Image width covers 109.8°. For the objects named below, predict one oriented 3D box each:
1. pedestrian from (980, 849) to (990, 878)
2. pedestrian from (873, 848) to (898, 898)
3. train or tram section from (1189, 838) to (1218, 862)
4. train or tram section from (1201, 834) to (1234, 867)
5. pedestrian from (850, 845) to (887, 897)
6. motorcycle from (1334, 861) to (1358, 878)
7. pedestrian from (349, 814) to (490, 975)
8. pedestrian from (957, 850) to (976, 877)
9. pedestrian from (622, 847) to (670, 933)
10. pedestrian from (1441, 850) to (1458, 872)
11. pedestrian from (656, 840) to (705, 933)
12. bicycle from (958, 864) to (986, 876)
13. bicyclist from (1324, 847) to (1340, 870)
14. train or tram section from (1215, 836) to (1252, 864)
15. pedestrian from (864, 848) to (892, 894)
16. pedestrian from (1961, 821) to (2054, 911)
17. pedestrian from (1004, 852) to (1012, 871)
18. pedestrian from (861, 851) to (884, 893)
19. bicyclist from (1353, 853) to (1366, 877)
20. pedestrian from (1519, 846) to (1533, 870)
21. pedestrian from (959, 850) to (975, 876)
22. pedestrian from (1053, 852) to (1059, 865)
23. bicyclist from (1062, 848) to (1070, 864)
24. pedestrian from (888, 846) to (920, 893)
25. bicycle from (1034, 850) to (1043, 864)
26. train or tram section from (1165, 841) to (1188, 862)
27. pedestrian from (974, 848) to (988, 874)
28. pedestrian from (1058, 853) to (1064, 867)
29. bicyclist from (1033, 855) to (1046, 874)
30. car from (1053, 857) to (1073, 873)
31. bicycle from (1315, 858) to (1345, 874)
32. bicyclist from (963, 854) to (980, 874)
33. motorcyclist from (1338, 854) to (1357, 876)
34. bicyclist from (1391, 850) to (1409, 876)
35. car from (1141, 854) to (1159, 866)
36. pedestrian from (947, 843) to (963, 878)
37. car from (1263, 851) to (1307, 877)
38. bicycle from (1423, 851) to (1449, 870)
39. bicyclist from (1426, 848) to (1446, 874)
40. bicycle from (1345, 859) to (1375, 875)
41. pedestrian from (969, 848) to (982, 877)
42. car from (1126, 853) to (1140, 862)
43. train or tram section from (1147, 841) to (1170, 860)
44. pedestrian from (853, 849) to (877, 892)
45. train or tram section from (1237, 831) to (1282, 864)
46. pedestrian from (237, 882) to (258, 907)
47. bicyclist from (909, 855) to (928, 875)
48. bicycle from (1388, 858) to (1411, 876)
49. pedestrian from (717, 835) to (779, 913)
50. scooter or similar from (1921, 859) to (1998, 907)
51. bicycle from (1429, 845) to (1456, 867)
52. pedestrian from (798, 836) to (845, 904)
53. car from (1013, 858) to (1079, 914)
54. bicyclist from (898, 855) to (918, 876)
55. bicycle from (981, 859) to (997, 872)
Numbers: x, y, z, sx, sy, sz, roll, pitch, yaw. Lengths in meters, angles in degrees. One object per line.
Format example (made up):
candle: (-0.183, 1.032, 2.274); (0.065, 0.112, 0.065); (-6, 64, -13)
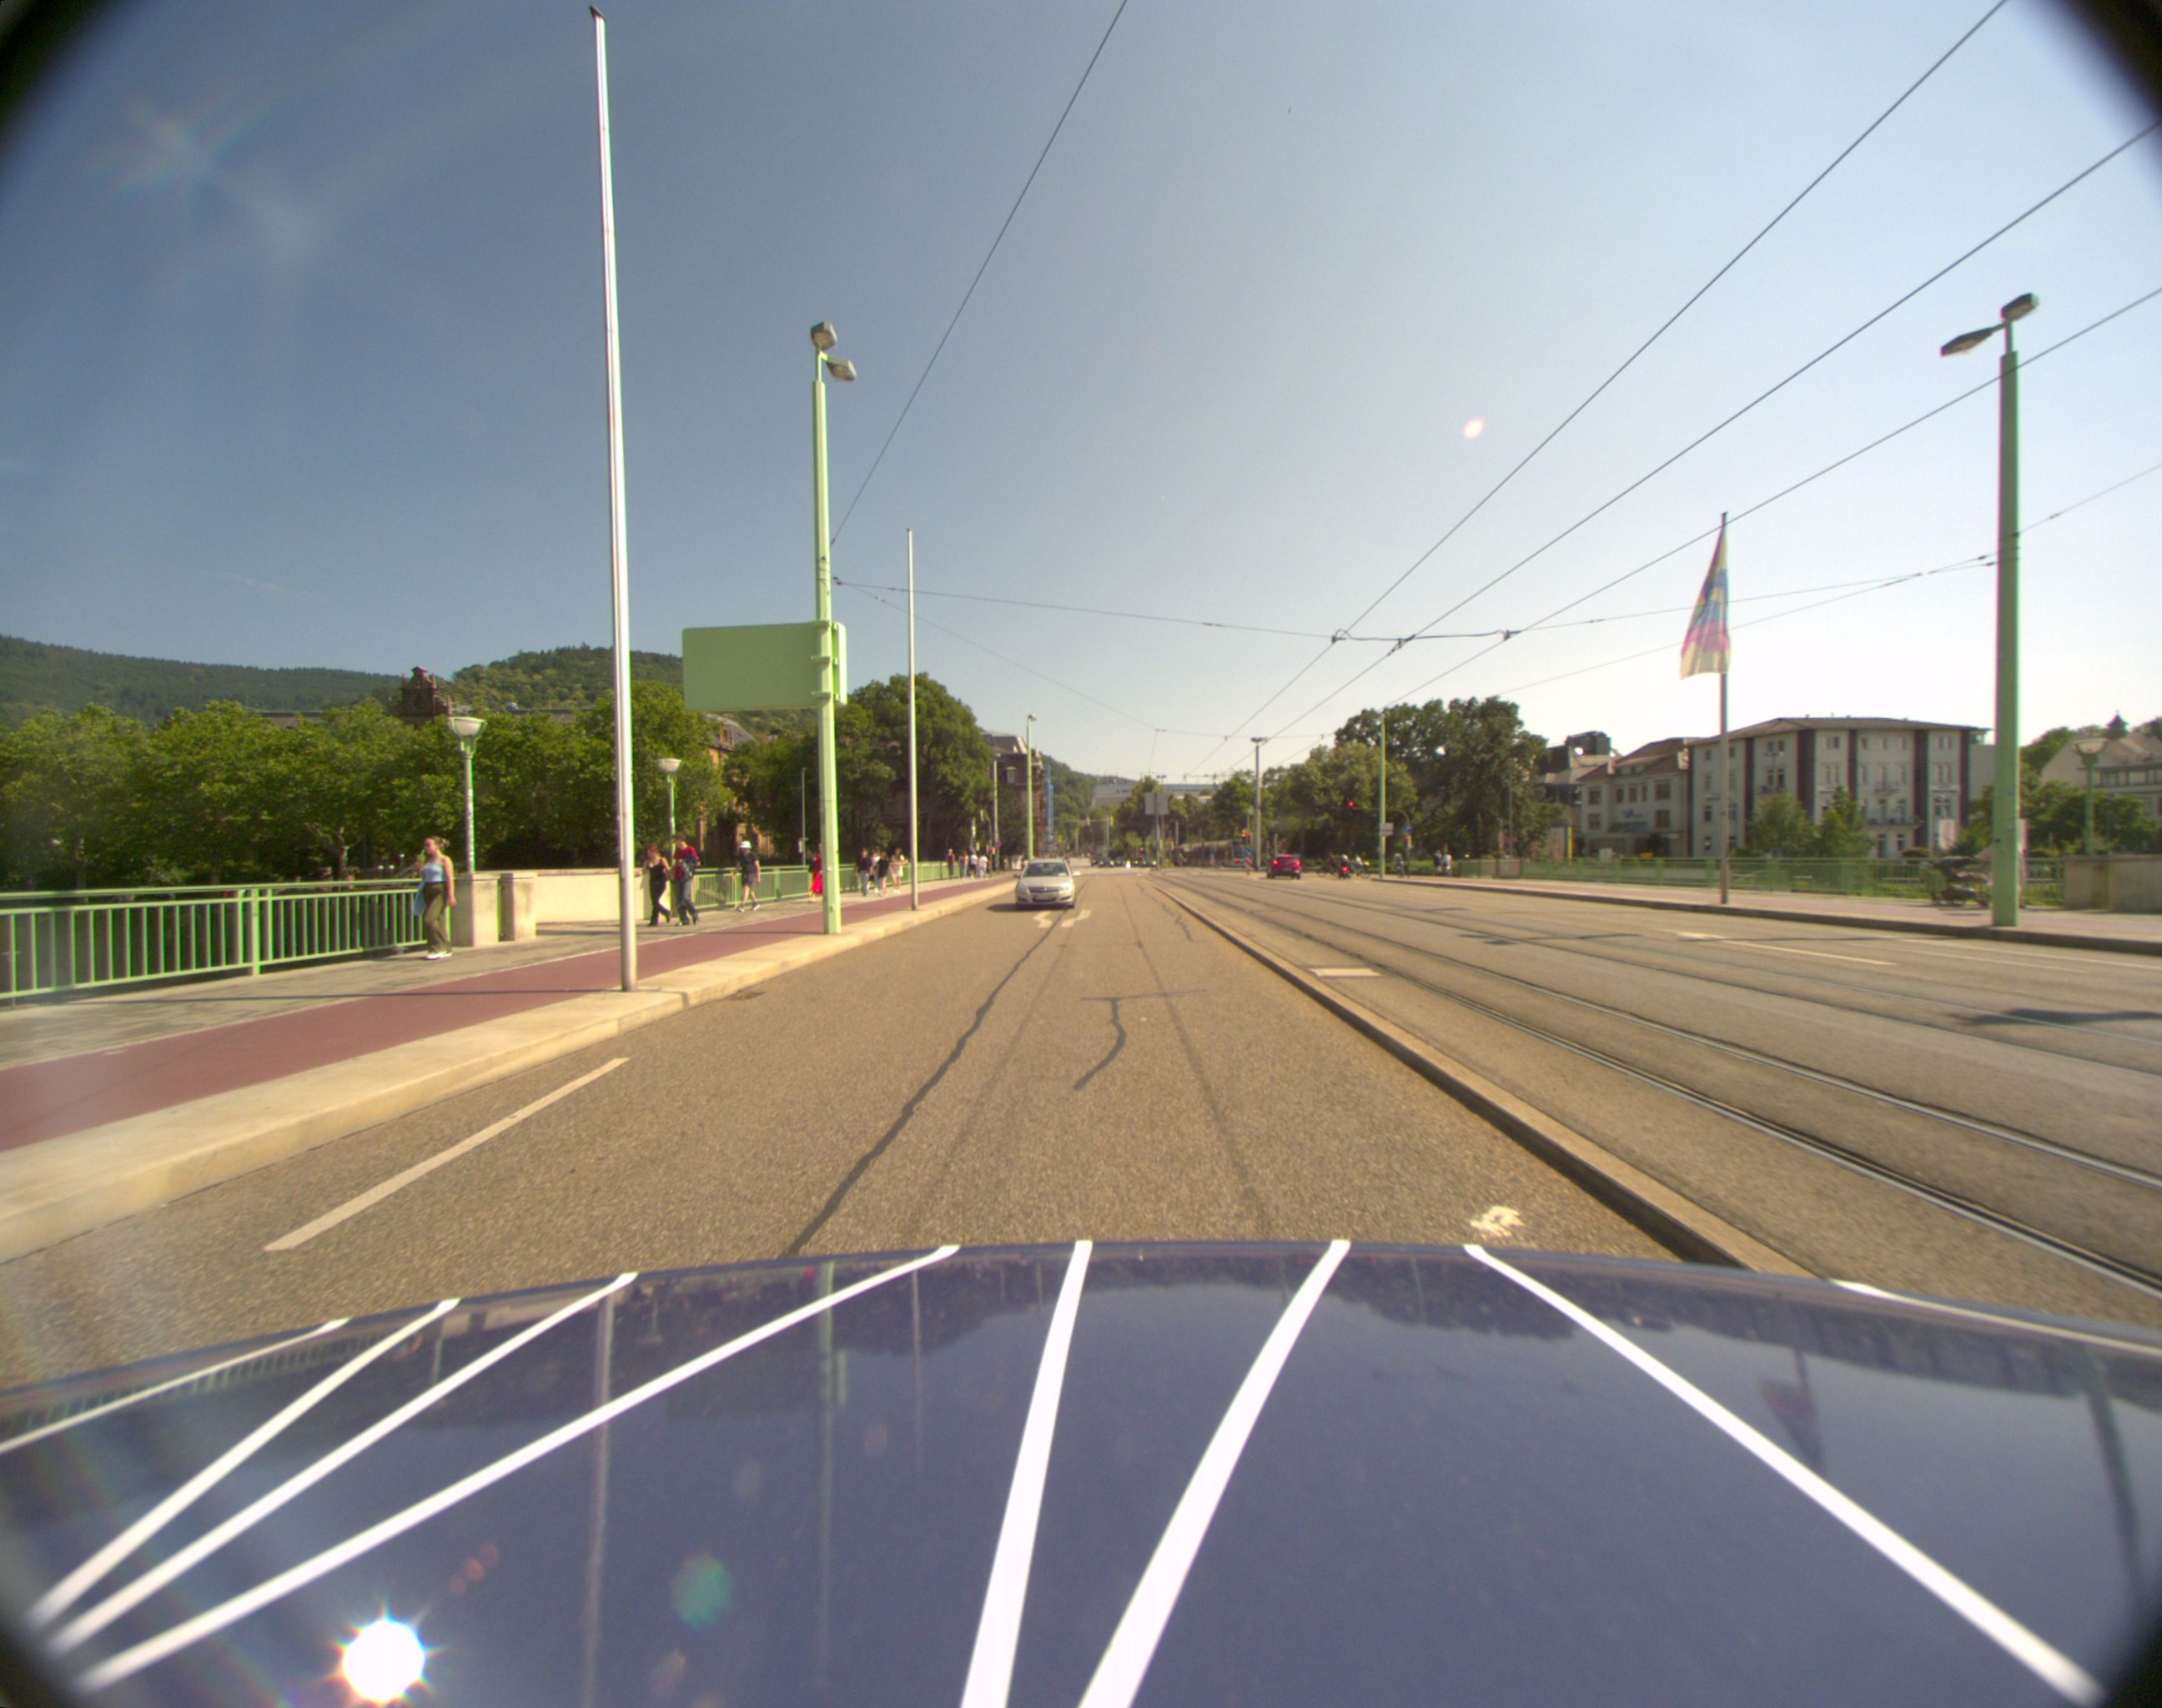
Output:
pedestrian: (-5.955, 0.581, 47.049); (0.550, 1.789, 0.645); (-1, 1, -4)
pedestrian: (-6.669, 0.633, 25.980); (0.656, 1.640, 0.868); (-1, 1, -4)
train or tram section: (19.628, -0.682, 122.299); (2.544, 3.755, 9.165); (-1, 1, -4)
train or tram section: (20.295, -0.644, 113.863); (2.545, 3.760, 9.151); (-1, 8, -5)
pedestrian: (-7.313, 0.562, 26.199); (0.987, 1.759, 1.254); (0, 1, -4)
motorcycle: (16.842, 0.991, 48.266); (0.847, 1.019, 1.951); (-2, 1, 1)
pedestrian: (-8.658, 0.501, 10.007); (0.876, 2.002, 1.058); (-1, 1, -4)
pedestrian: (-6.744, 0.551, 44.733); (0.987, 1.606, 0.921); (-1, 1, -4)
pedestrian: (-8.513, 0.683, 14.883); (0.524, 1.640, 0.699); (-1, 1, -4)
pedestrian: (24.629, 0.438, 50.798); (0.745, 1.447, 0.899); (-1, 1, 2)
pedestrian: (-7.821, 0.616, 14.844); (0.587, 1.783, 0.632); (-1, 1, -3)
bicycle: (-8.196, 1.193, 57.272); (1.942, 0.822, 0.565); (-2, 0, 6)
bicyclist: (17.980, 0.321, 54.441); (0.880, 1.600, 0.771); (-1, 1, -7)
train or tram section: (20.936, -0.463, 104.771); (2.411, 3.659, 9.615); (0, 0, -5)
pedestrian: (-7.524, 0.624, 28.197); (0.836, 1.667, 0.885); (-1, 1, -4)
pedestrian: (20.052, 0.245, 16.463); (0.740, 1.843, 0.975); (-4, 1, 0)
pedestrian: (-7.768, 0.829, 80.563); (0.777, 2.002, 1.059); (0, 1, -3)
pedestrian: (-7.913, 0.675, 28.873); (0.651, 1.553, 0.692); (0, 0, 3)
bicyclist: (19.504, 0.760, 53.236); (0.770, 1.600, 0.881); (0, 1, 23)
pedestrian: (33.394, 0.319, 56.995); (0.702, 1.782, 0.694); (-1, 1, -41)
pedestrian: (-7.284, 0.551, 48.609); (0.801, 1.625, 0.949); (0, 1, 1)
pedestrian: (-3.493, 0.659, 106.342); (0.707, 1.743, 0.902); (0, 2, -4)
bicyclist: (-1.846, 0.295, 95.437); (0.944, 2.002, 0.830); (0, 1, -4)
pedestrian: (-6.606, 0.563, 28.339); (0.987, 1.740, 0.929); (-1, 1, -4)
bicycle: (-3.160, 0.210, 56.772); (0.643, 1.076, 2.496); (0, 0, -3)
train or tram section: (15.988, -0.392, 126.967); (2.768, 3.383, 5.884); (0, 0, -4)
pedestrian: (-7.220, 0.508, 54.864); (0.775, 1.844, 0.645); (-1, 0, 5)
pedestrian: (-2.804, 0.827, 106.608); (0.636, 1.880, 0.903); (-1, 0, -4)
bicyclist: (-3.110, 0.811, 56.851); (0.912, 1.385, 1.232); (-1, 1, -2)
car: (-1.932, 1.134, 79.966); (1.999, 1.564, 4.000); (-2, 0, -1)
bicycle: (17.836, 0.877, 54.474); (1.920, 1.107, 0.760); (-1, 1, -7)
bicyclist: (-8.244, 0.745, 57.285); (1.082, 1.465, 0.801); (-2, 0, 6)
motorcyclist: (16.859, 0.697, 48.160); (0.847, 1.394, 0.898); (-2, 1, 0)
bicyclist: (20.480, 0.579, 48.825); (0.879, 1.599, 0.772); (1, 0, 4)
car: (8.940, 0.740, 98.744); (1.752, 1.477, 4.746); (1, 0, -1)
pedestrian: (-7.455, 0.379, 44.853); (0.805, 2.002, 0.954); (-1, 1, -4)
car: (12.683, 0.582, 47.524); (1.997, 1.506, 4.191); (-1, 1, 6)
bicycle: (21.844, 0.408, 46.774); (0.760, 1.107, 1.920); (-1, 1, 2)
bicyclist: (21.856, 0.421, 46.757); (0.879, 1.600, 0.772); (-1, 1, 2)
bicycle: (19.557, 0.929, 53.238); (1.915, 1.107, 0.762); (0, 1, 22)
pedestrian: (-6.435, 0.514, 46.549); (0.697, 1.707, 0.731); (-1, 1, -4)
car: (8.166, 0.502, 119.047); (1.637, 1.301, 3.913); (0, 0, -4)
train or tram section: (15.016, -0.665, 148.311); (2.767, 3.383, 12.407); (0, 0, -3)
pedestrian: (-8.337, 0.625, 29.409); (0.651, 1.622, 0.692); (-2, 1, 3)
train or tram section: (21.820, -0.805, 93.624); (2.476, 3.755, 11.847); (-1, 0, -1)
pedestrian: (-60.285, 2.911, 54.968); (0.742, 1.765, 0.676); (-2, 0, -4)
bicyclist: (-12.026, 0.801, 56.165); (1.081, 1.465, 0.763); (-2, 0, 24)
bicycle: (20.453, 0.837, 48.796); (0.760, 1.107, 1.921); (-3, -1, 4)
pedestrian: (-8.318, 0.476, 19.043); (0.987, 1.884, 1.253); (-1, 1, -4)
scooter or similar: (20.082, 0.657, 17.382); (0.740, 1.023, 0.832); (-4, 1, 0)
bicycle: (24.381, 0.153, 51.278); (0.706, 1.391, 2.163); (-4, 0, 0)
pedestrian: (-7.615, 0.454, 22.327); (1.018, 1.942, 0.939); (-1, 1, 0)
car: (-0.983, 0.893, 23.443); (1.802, 1.492, 4.497); (-1, 0, 0)
bicyclist: (-12.682, 0.814, 55.690); (1.082, 1.465, 0.929); (-2, 0, 10)
bicycle: (-9.673, 1.169, 79.750); (0.801, 1.199, 2.276); (2, 5, 19)
